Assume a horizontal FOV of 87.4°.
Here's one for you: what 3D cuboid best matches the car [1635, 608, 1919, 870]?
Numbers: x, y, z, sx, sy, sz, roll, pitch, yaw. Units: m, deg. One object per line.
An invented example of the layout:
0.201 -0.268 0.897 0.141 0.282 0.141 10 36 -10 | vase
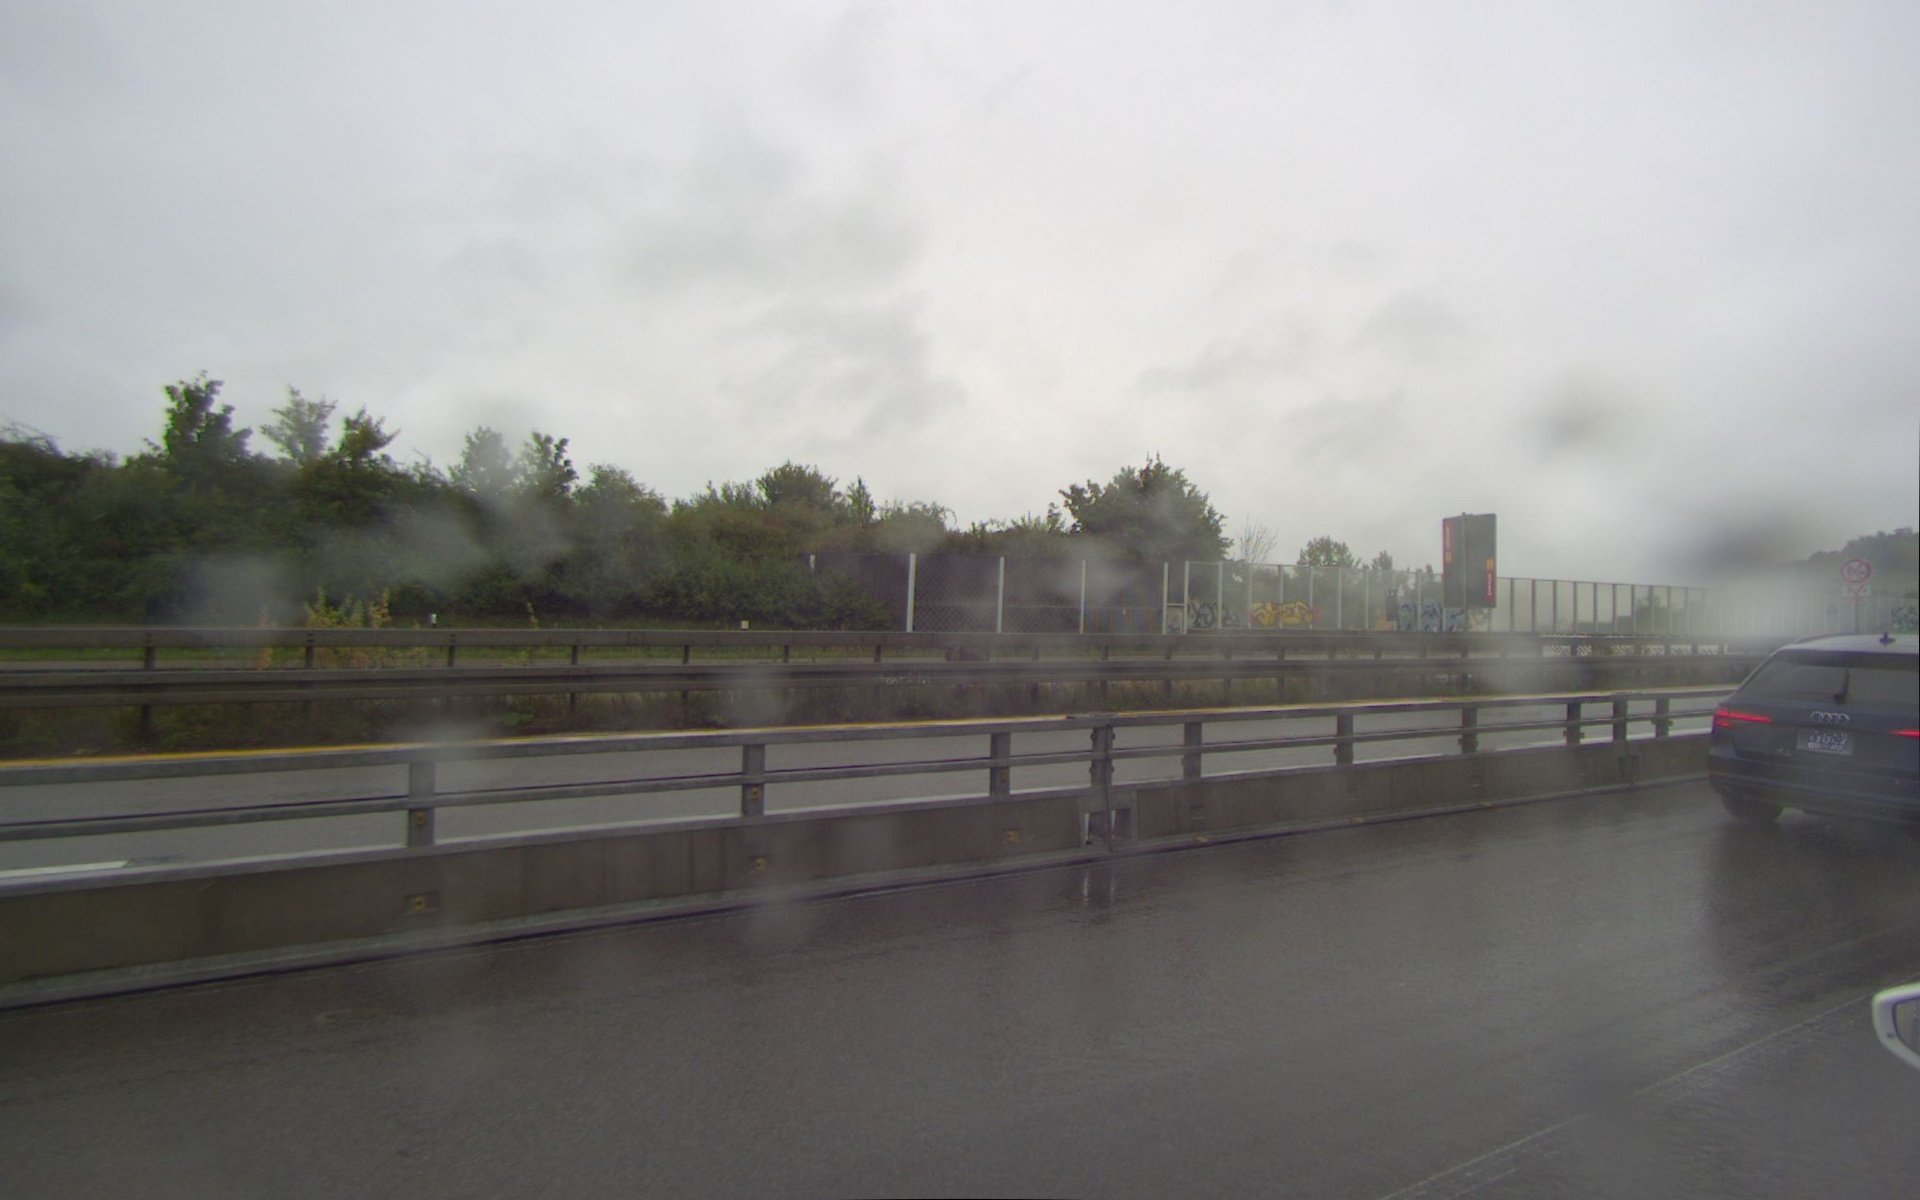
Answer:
7.410 0.896 7.576 4.574 1.517 1.985 2 0 -29 | car
